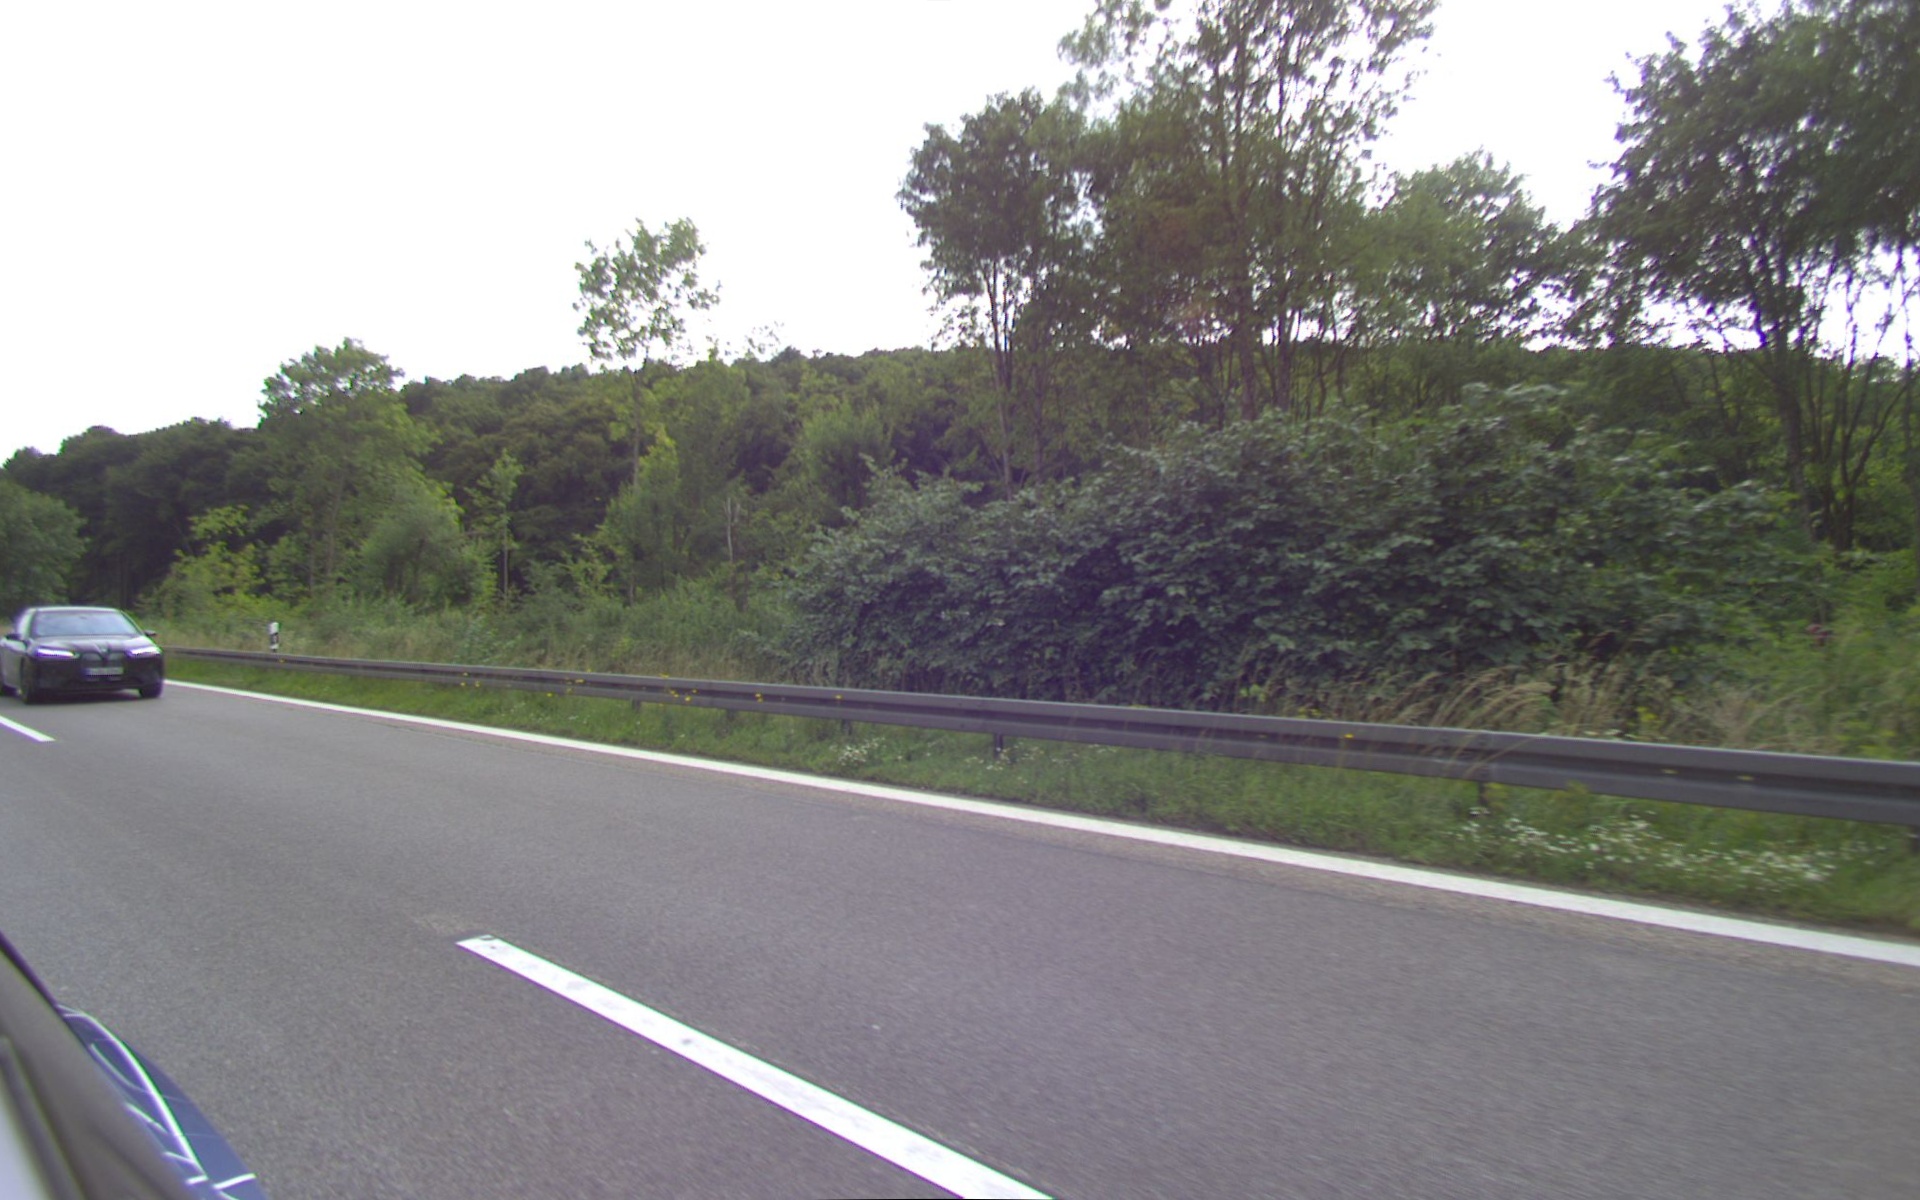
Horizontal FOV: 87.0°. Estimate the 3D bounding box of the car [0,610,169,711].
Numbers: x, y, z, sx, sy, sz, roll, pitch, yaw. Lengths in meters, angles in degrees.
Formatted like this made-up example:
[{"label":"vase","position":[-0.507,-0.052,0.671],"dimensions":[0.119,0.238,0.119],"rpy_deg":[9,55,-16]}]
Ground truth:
[{"label":"car","position":[-16.659,1.044,19.008],"dimensions":[4.411,1.678,1.973],"rpy_deg":[-1,-1,40]}]
